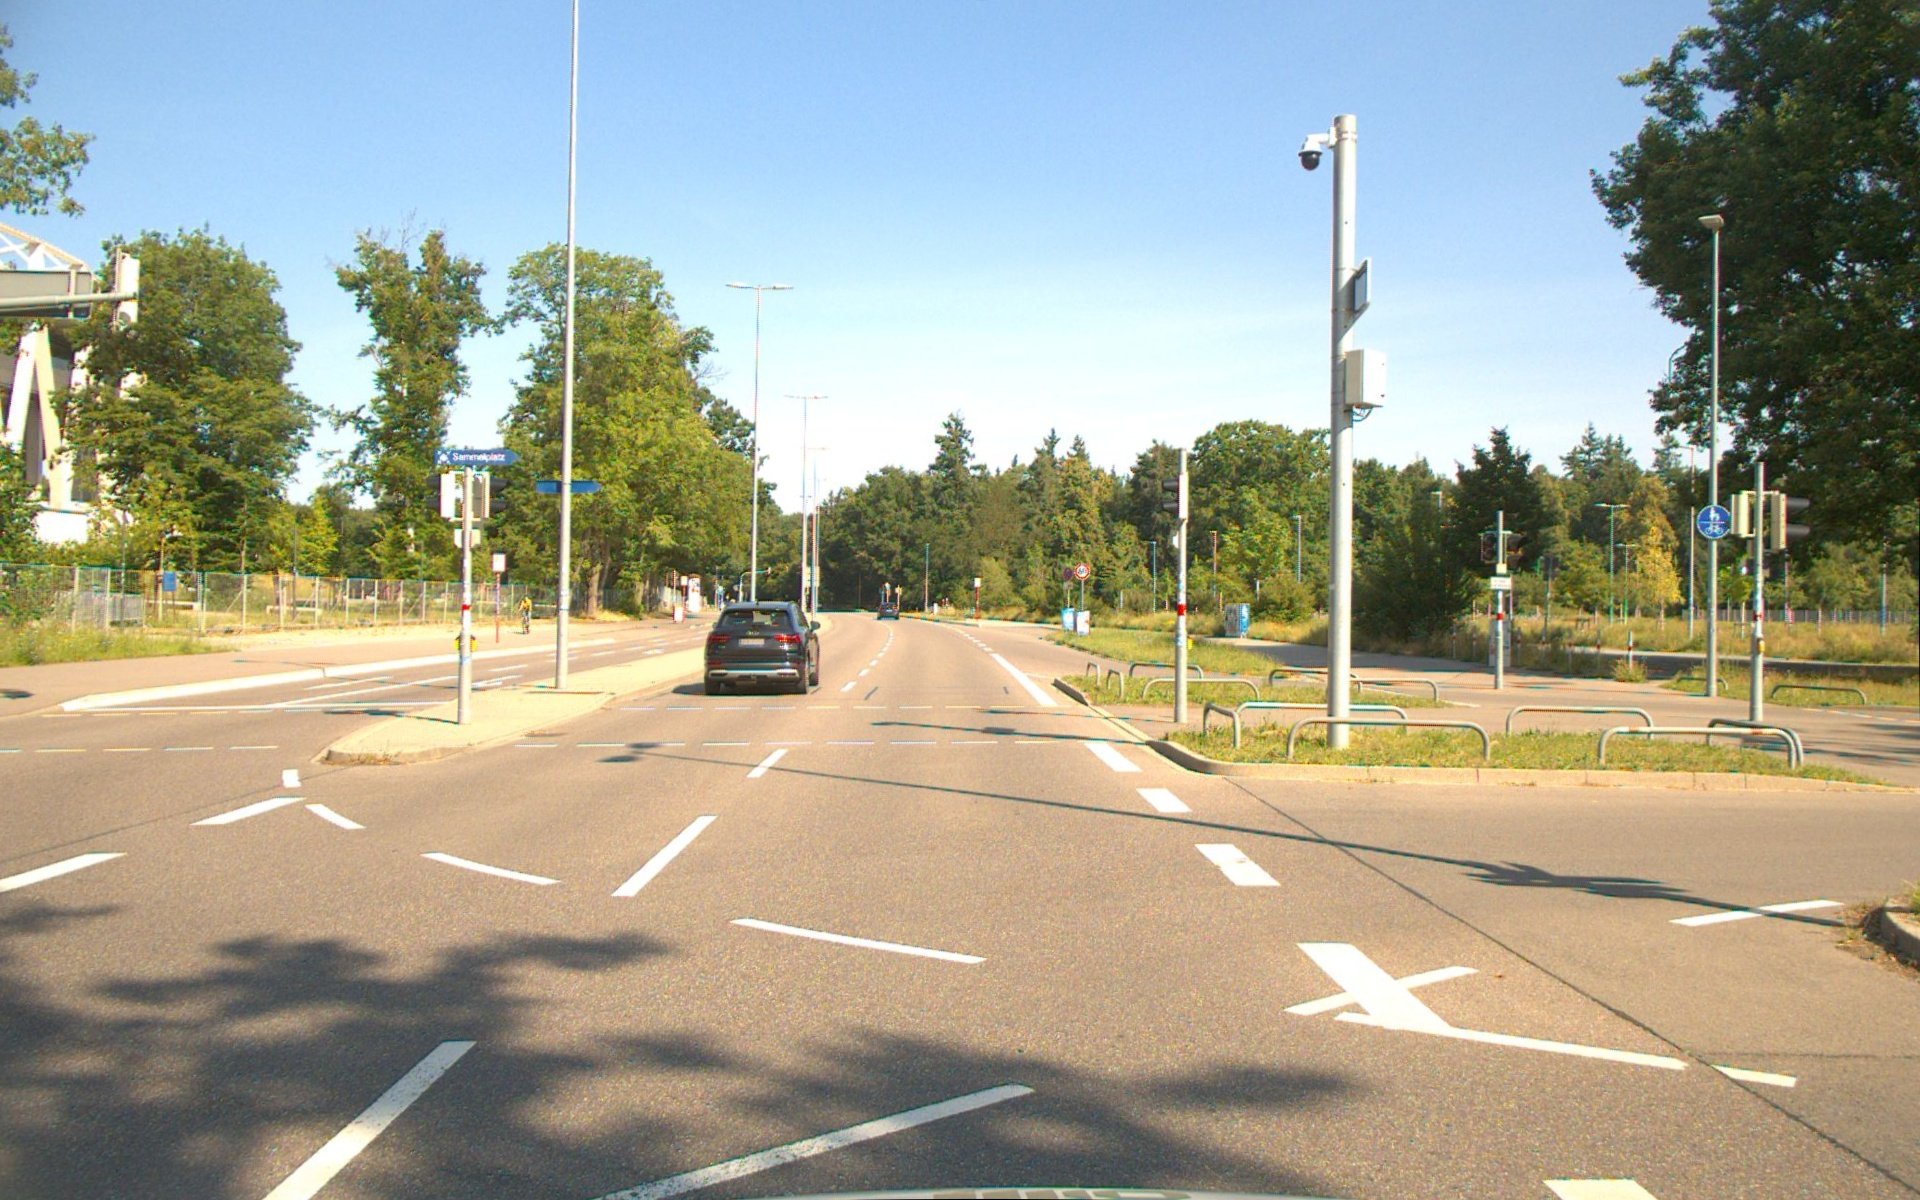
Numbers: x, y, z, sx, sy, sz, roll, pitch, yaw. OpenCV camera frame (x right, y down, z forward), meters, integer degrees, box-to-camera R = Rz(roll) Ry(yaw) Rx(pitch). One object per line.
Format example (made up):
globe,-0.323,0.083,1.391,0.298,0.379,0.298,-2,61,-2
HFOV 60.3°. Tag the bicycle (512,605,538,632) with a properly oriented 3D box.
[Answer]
bicycle,-19.008,0.808,72.299,0.646,1.155,1.877,2,0,-2

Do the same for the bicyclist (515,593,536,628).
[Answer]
bicyclist,-18.982,0.438,72.294,0.646,1.493,1.057,2,0,-2

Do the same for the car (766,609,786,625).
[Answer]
car,-16.965,1.519,152.401,1.777,1.412,4.154,-2,0,-8

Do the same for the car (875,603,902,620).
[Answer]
car,-6.136,0.979,141.329,1.904,1.445,4.285,1,0,-8

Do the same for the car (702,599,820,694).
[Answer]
car,-3.500,0.773,29.696,1.653,1.571,4.148,0,0,-1
